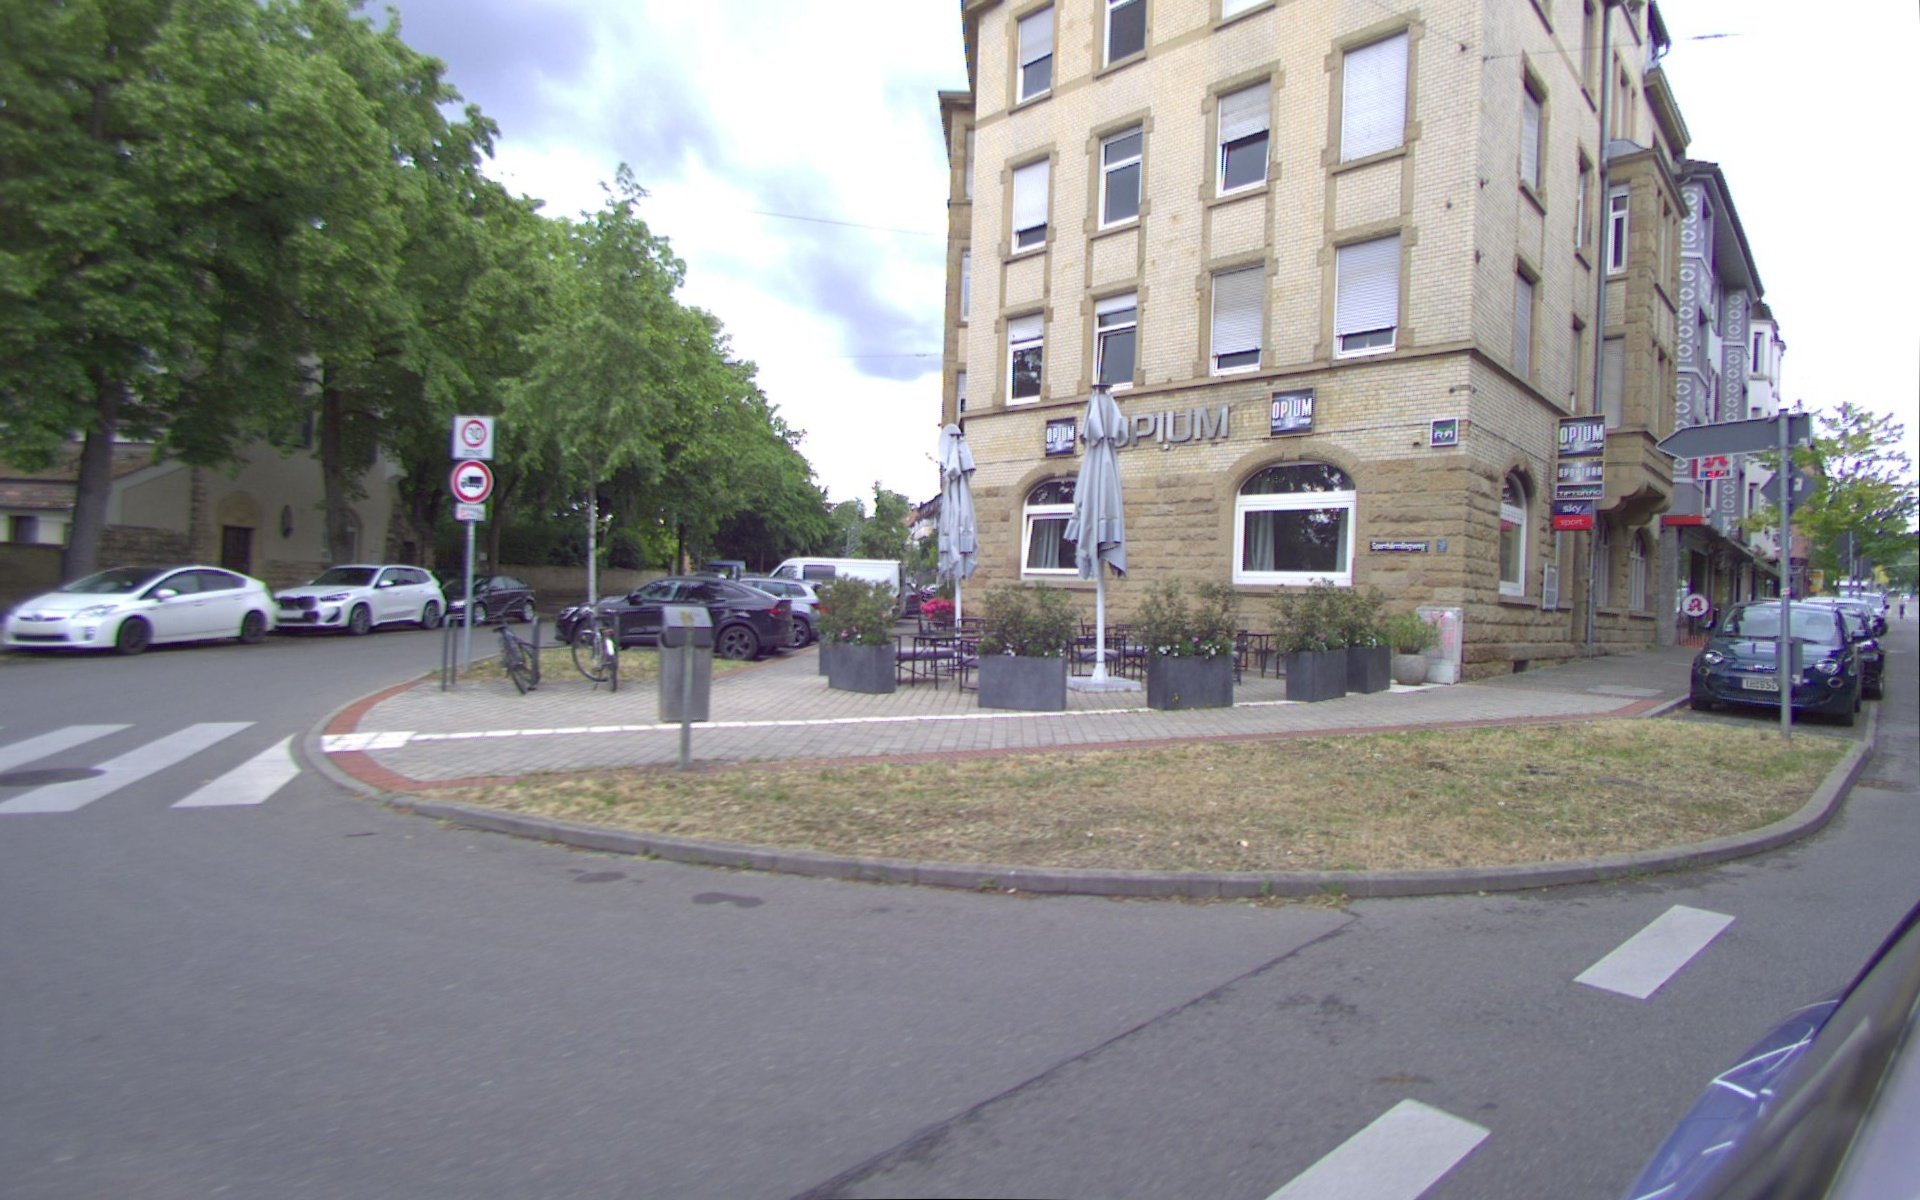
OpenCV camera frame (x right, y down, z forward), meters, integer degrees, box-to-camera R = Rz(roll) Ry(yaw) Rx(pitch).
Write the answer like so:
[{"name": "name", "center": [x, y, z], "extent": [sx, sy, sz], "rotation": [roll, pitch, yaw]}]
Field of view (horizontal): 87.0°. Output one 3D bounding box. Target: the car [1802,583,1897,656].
[{"name": "car", "center": [23.084, 0.445, 26.377], "extent": [1.677, 1.683, 4.478], "rotation": [4, 3, 40]}]

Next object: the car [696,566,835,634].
[{"name": "car", "center": [-4.584, 0.000, 24.109], "extent": [3.097, 1.555, 1.550], "rotation": [0, 0, -4]}]

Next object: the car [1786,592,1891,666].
[{"name": "car", "center": [19.798, 0.575, 22.782], "extent": [1.605, 1.414, 4.211], "rotation": [4, 3, 42]}]

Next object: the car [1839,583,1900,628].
[{"name": "car", "center": [42.969, 0.225, 47.908], "extent": [1.904, 1.954, 4.849], "rotation": [3, 2, 40]}]

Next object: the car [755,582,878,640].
[{"name": "car", "center": [-3.768, 0.274, 26.846], "extent": [3.114, 1.419, 1.474], "rotation": [-1, 0, -6]}]

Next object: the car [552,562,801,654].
[{"name": "car", "center": [-5.321, 0.125, 19.472], "extent": [4.287, 1.616, 2.002], "rotation": [1, 1, -3]}]

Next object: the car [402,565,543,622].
[{"name": "car", "center": [-13.637, -0.219, 28.631], "extent": [1.764, 1.454, 4.371], "rotation": [1, 1, 2]}]

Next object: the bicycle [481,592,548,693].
[{"name": "bicycle", "center": [-5.545, 0.472, 12.546], "extent": [0.589, 1.079, 2.191], "rotation": [0, 2, -28]}]

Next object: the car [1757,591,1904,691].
[{"name": "car", "center": [15.488, 0.618, 18.047], "extent": [1.737, 1.481, 4.704], "rotation": [3, 3, 41]}]

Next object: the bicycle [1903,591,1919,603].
[{"name": "bicycle", "center": [81.924, -0.237, 86.758], "extent": [0.361, 1.004, 1.725], "rotation": [0, 1, -12]}]

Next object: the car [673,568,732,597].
[{"name": "car", "center": [-13.237, -0.908, 52.262], "extent": [1.962, 1.416, 4.130], "rotation": [1, 2, 0]}]

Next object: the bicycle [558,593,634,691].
[{"name": "bicycle", "center": [-4.700, 0.484, 12.979], "extent": [0.589, 1.079, 2.191], "rotation": [0, 2, -28]}]

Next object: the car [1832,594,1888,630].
[{"name": "car", "center": [39.307, 0.477, 44.181], "extent": [1.683, 1.433, 3.979], "rotation": [3, 2, 43]}]

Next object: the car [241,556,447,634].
[{"name": "car", "center": [-14.218, -0.164, 23.706], "extent": [1.964, 1.616, 4.369], "rotation": [1, 1, 4]}]

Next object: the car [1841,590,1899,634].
[{"name": "car", "center": [34.995, 0.434, 38.892], "extent": [1.482, 1.553, 3.466], "rotation": [3, 2, 44]}]

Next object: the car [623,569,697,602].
[{"name": "car", "center": [-13.421, -0.666, 45.497], "extent": [1.963, 1.372, 4.241], "rotation": [1, 1, 2]}]

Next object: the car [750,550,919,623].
[{"name": "car", "center": [-4.203, -0.485, 34.390], "extent": [5.399, 2.320, 1.998], "rotation": [1, 1, 4]}]

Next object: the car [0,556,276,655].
[{"name": "car", "center": [-14.489, 0.025, 17.959], "extent": [1.778, 1.517, 4.278], "rotation": [1, 1, 1]}]

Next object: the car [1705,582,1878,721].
[{"name": "car", "center": [11.472, 0.594, 13.881], "extent": [1.565, 1.630, 3.597], "rotation": [2, 2, 43]}]

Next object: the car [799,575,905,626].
[{"name": "car", "center": [-3.389, 0.021, 31.945], "extent": [3.230, 1.494, 1.550], "rotation": [-1, 0, -4]}]

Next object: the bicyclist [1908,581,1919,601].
[{"name": "bicyclist", "center": [81.917, -0.783, 86.713], "extent": [0.668, 1.649, 0.752], "rotation": [1, 1, -12]}]
